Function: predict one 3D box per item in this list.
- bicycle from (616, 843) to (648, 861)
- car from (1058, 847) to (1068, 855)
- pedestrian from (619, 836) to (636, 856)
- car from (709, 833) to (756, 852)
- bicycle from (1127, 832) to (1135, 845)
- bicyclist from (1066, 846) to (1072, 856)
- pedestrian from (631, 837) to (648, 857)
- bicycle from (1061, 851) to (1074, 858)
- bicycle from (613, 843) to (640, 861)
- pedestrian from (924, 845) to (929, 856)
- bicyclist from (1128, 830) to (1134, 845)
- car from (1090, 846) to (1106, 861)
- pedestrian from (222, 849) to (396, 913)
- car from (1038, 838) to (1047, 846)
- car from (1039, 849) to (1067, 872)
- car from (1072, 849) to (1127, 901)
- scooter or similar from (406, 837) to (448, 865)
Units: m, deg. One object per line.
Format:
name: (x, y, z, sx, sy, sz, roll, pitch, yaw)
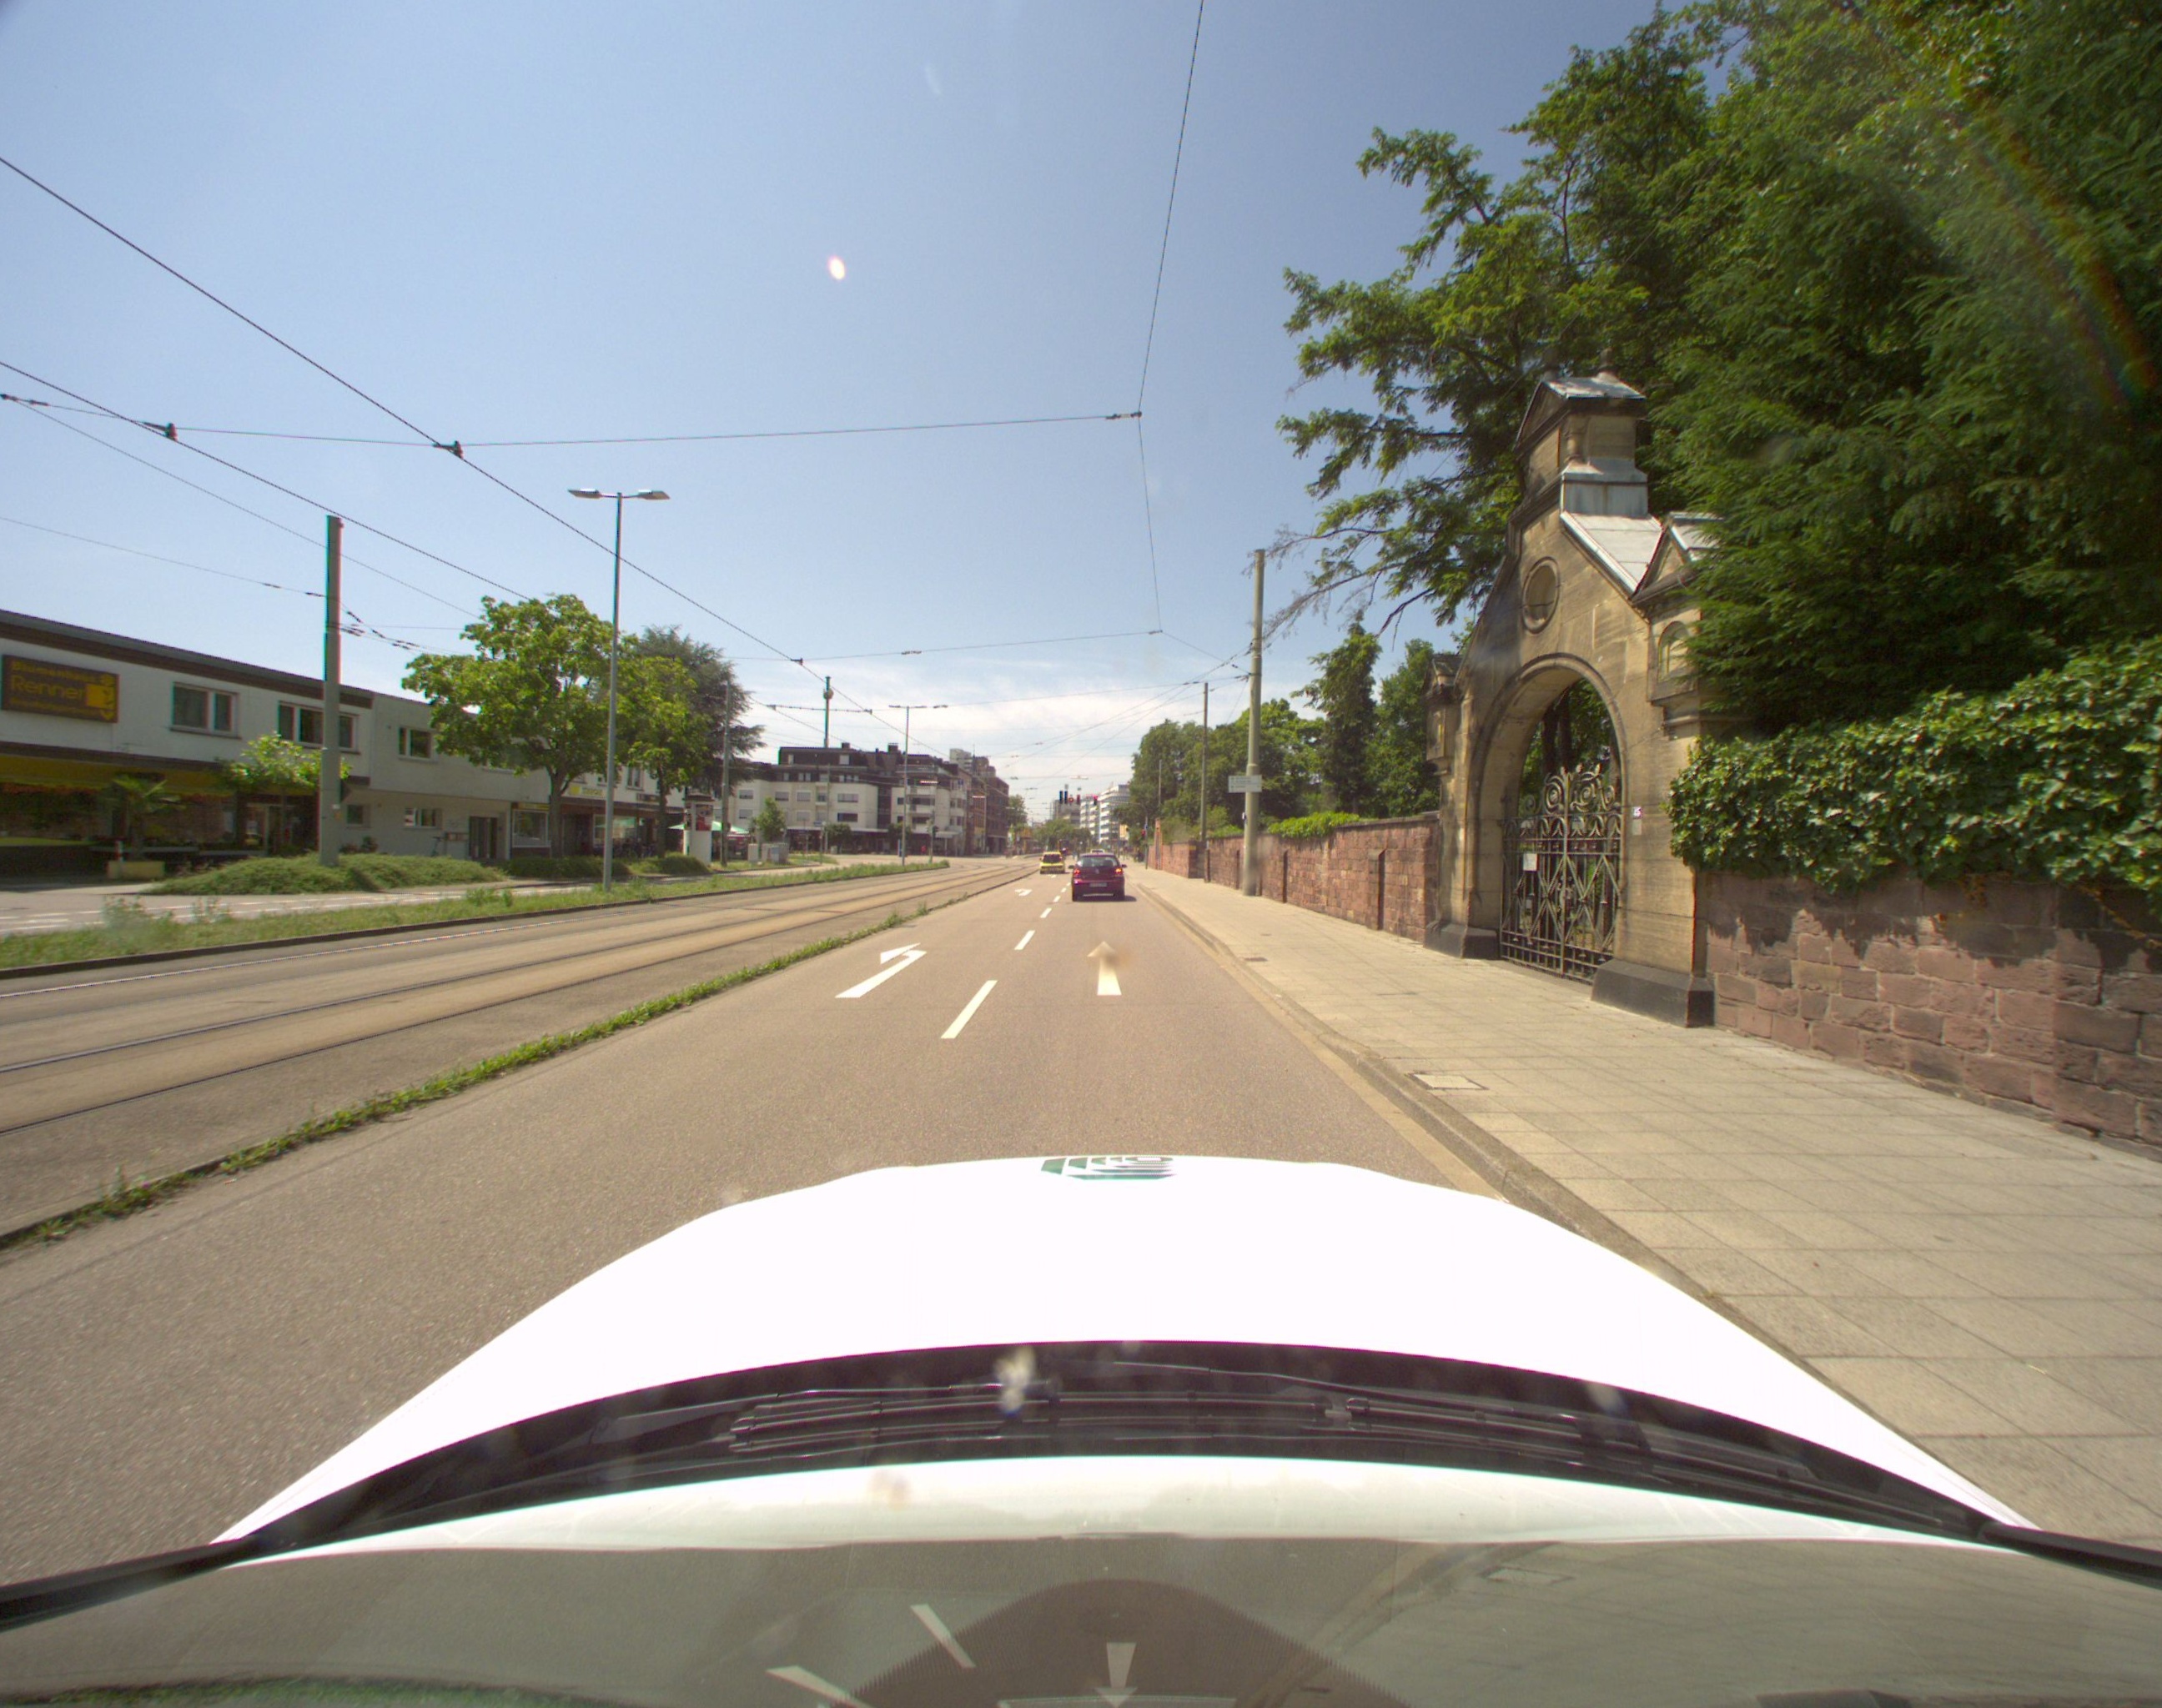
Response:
bicycle: (-25.297, -0.120, 45.919, 0.608, 0.979, 2.030, 0, 0, 1)
car: (-3.677, -0.642, 167.219, 1.931, 1.641, 4.000, 0, 0, 1)
pedestrian: (-28.818, -0.510, 51.752, 0.587, 1.268, 0.842, 0, -1, 1)
car: (-44.839, -1.503, 104.849, 5.049, 2.341, 2.244, 0, -1, -1)
bicycle: (6.348, -1.927, 103.424, 0.832, 1.525, 4.001, 0, 0, 1)
bicyclist: (-1.788, -0.445, 120.579, 0.764, 1.406, 0.506, 0, -1, -3)
pedestrian: (-28.087, -0.414, 51.857, 0.587, 1.268, 0.842, 0, -1, 1)
bicycle: (-1.949, 0.093, 120.523, 1.861, 1.008, 0.578, 0, -1, -4)
bicycle: (-26.533, -0.110, 47.581, 0.536, 0.979, 1.759, 0, 0, 1)
pedestrian: (-22.483, -0.492, 118.172, 0.479, 1.541, 0.541, 0, -1, 25)
bicyclist: (6.361, -2.077, 103.589, 0.719, 1.818, 0.889, 0, -1, 1)
car: (1.737, -0.061, 84.189, 1.567, 1.415, 3.720, -1, 0, 1)
pedestrian: (-25.864, 0.859, 27.513, 1.987, 2.014, 4.000, 0, 0, 1)
car: (-9.686, -3.086, 204.644, 1.729, 2.013, 4.001, 1, 0, 1)
car: (-1.868, 0.421, 55.083, 1.717, 1.445, 3.293, -1, 1, 1)
car: (0.567, 0.607, 25.998, 1.604, 1.463, 4.086, -1, 0, 1)
scooter or similar: (-28.419, -0.108, 35.416, 0.450, 1.191, 1.352, 0, -1, 21)
